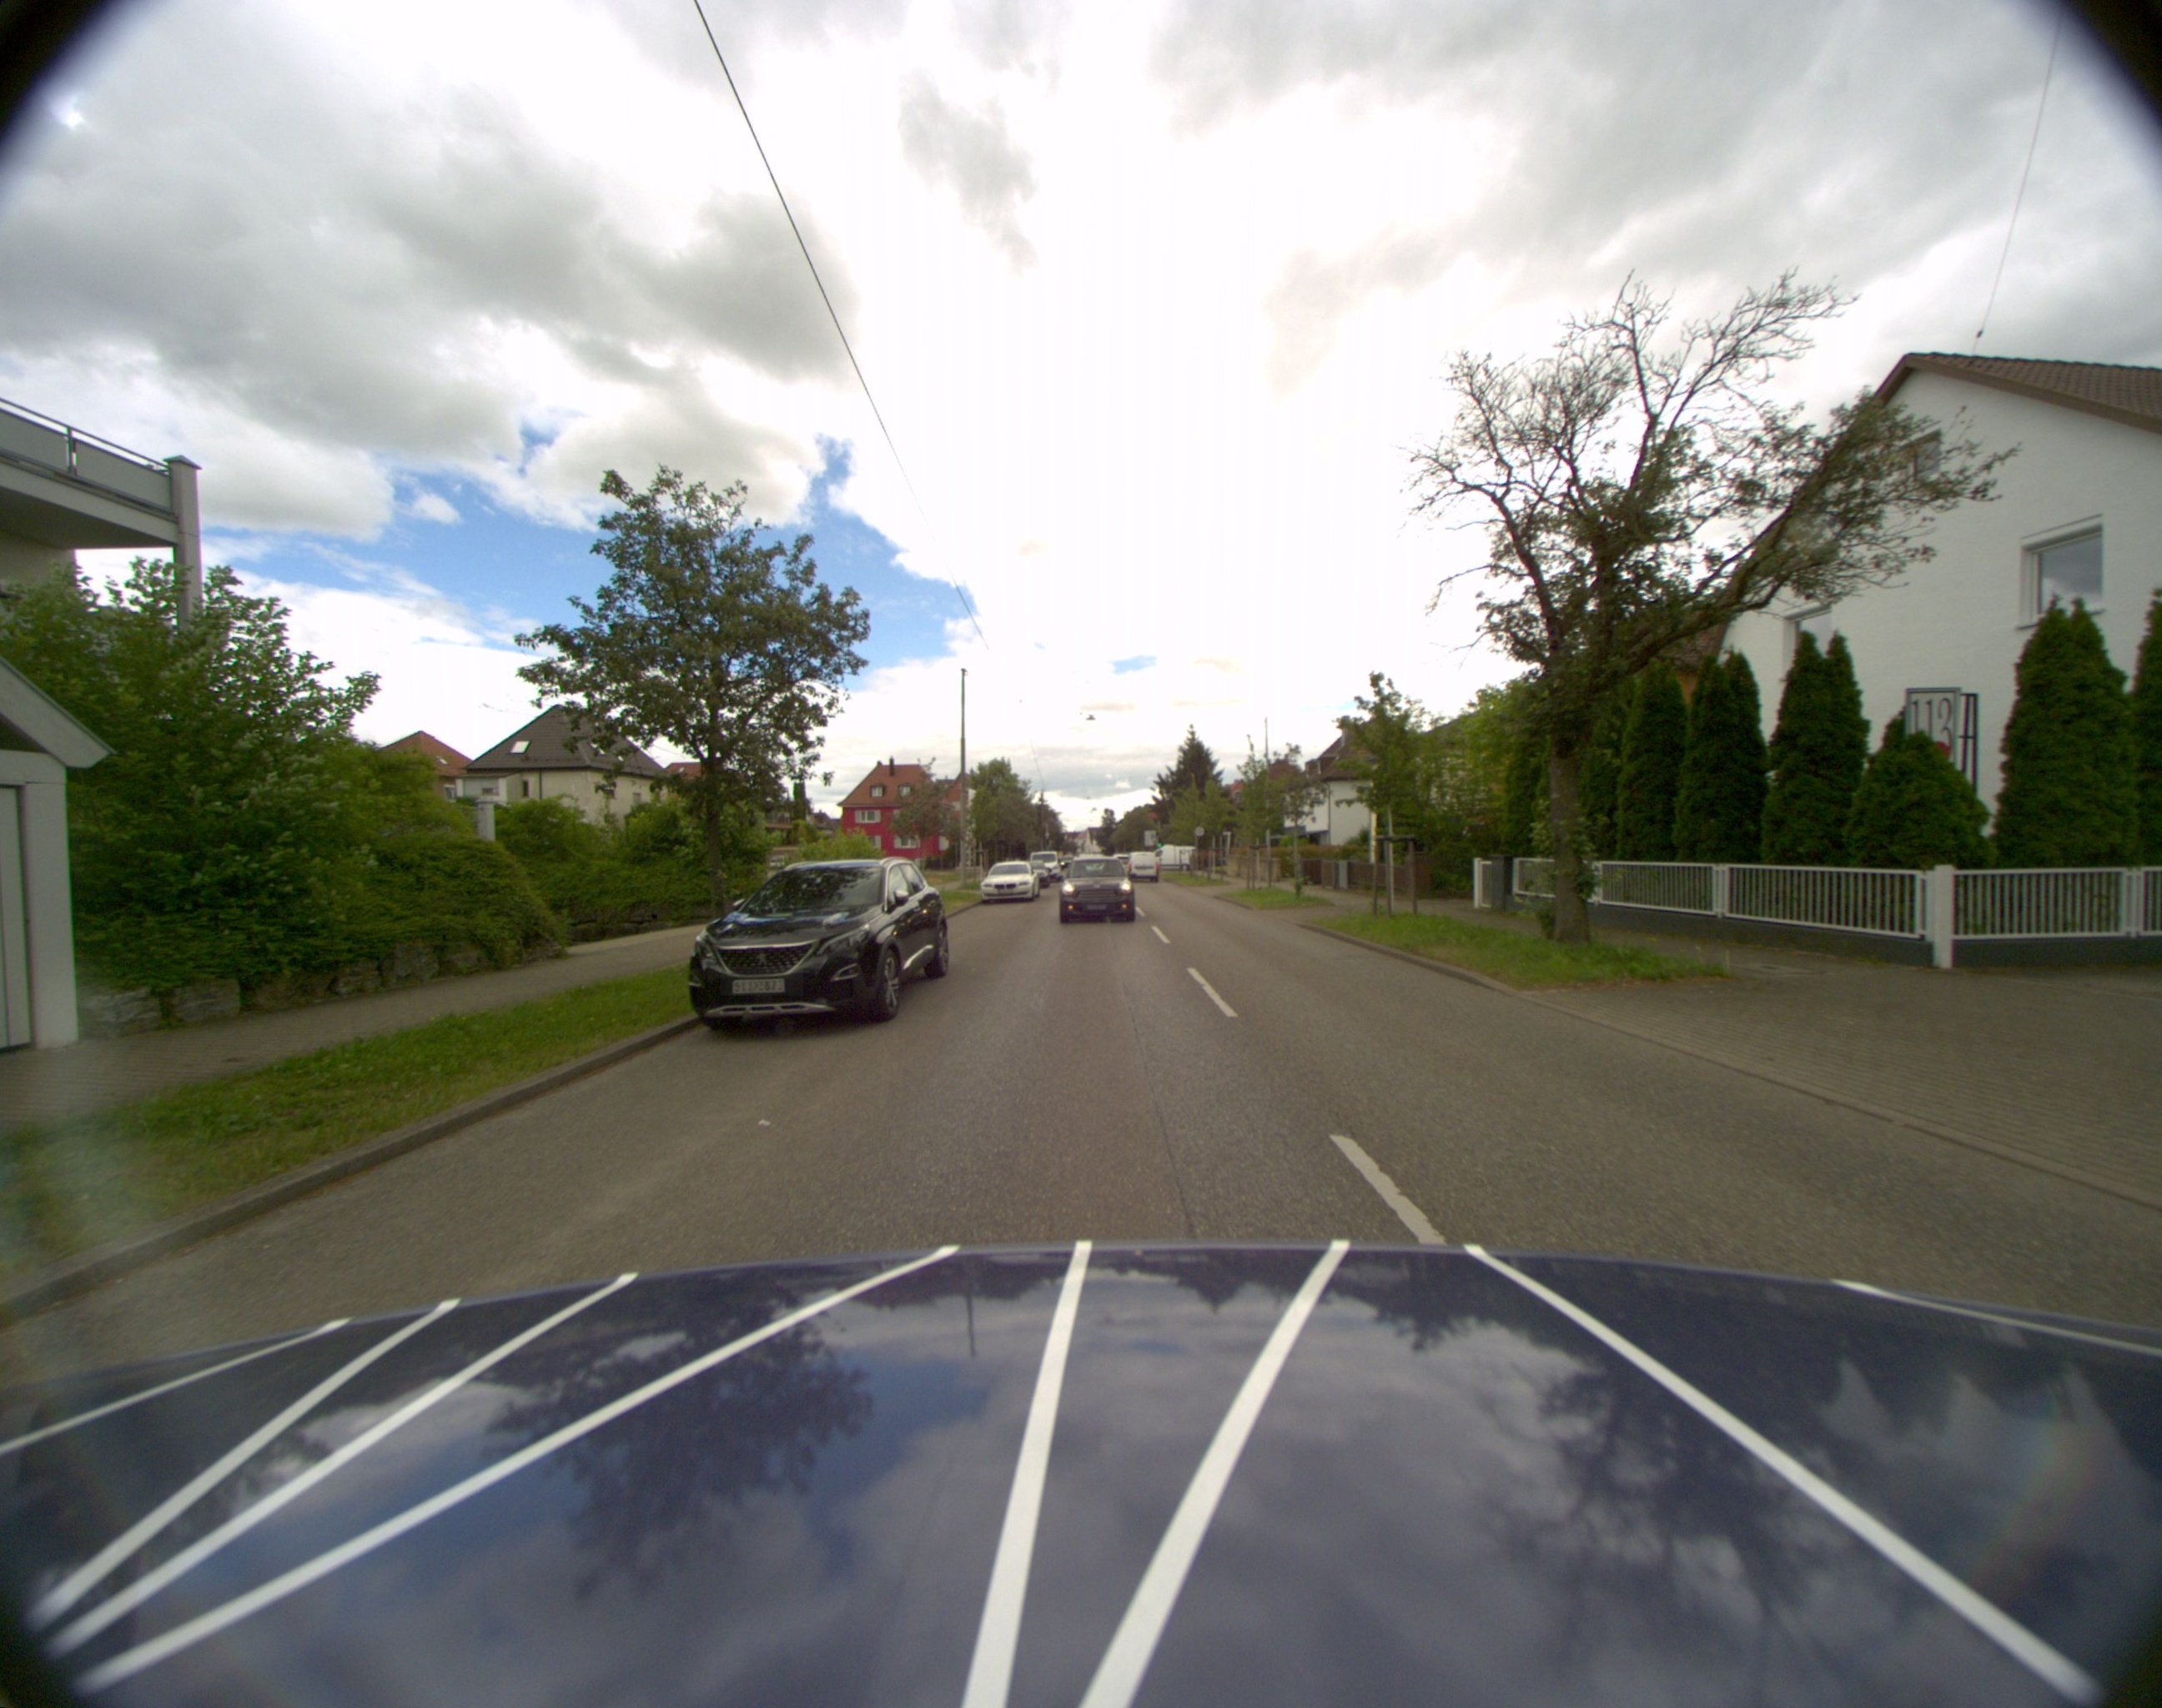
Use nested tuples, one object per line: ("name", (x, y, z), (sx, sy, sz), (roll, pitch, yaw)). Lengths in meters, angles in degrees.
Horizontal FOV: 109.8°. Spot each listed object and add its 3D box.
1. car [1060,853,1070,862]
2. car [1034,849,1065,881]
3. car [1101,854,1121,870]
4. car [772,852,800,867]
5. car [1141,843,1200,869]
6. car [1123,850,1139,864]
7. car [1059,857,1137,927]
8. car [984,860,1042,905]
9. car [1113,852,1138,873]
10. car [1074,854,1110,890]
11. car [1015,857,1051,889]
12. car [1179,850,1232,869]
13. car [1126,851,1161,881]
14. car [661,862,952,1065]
("car", (-2.733, 0.580, 129.425), (1.728, 1.582, 4.156), (0, 0, -1))
("car", (-2.026, 0.704, 50.063), (1.779, 1.932, 4.788), (-2, 0, -1))
("car", (3.071, 0.757, 77.859), (1.620, 1.463, 3.998), (-3, 1, -3))
("car", (-31.518, 0.577, 81.261), (1.621, 1.531, 3.501), (-3, 1, -1))
("car", (9.071, 0.170, 77.388), (5.610, 2.549, 2.133), (1, 1, 18))
("car", (6.977, 0.405, 106.842), (1.998, 1.938, 4.898), (-1, 0, 1))
("car", (0.440, 0.859, 18.891), (1.743, 1.573, 3.685), (0, 0, 2))
("car", (-2.470, 1.001, 28.649), (1.697, 1.445, 4.404), (-3, 0, 1))
("car", (3.736, 0.680, 64.343), (1.818, 1.683, 4.465), (0, 0, 0))
("car", (0.539, 0.801, 35.738), (1.590, 1.598, 3.685), (-1, 0, 2))
("car", (-2.469, 0.961, 40.126), (1.669, 1.507, 4.220), (-2, 0, -1))
("car", (11.824, 0.520, 72.249), (4.644, 1.611, 2.000), (-2, 0, 0))
("car", (3.752, 0.704, 46.249), (1.800, 1.741, 4.298), (0, 0, 1))
("car", (-2.711, 0.970, 8.602), (1.692, 1.600, 4.109), (-3, 0, 1))
